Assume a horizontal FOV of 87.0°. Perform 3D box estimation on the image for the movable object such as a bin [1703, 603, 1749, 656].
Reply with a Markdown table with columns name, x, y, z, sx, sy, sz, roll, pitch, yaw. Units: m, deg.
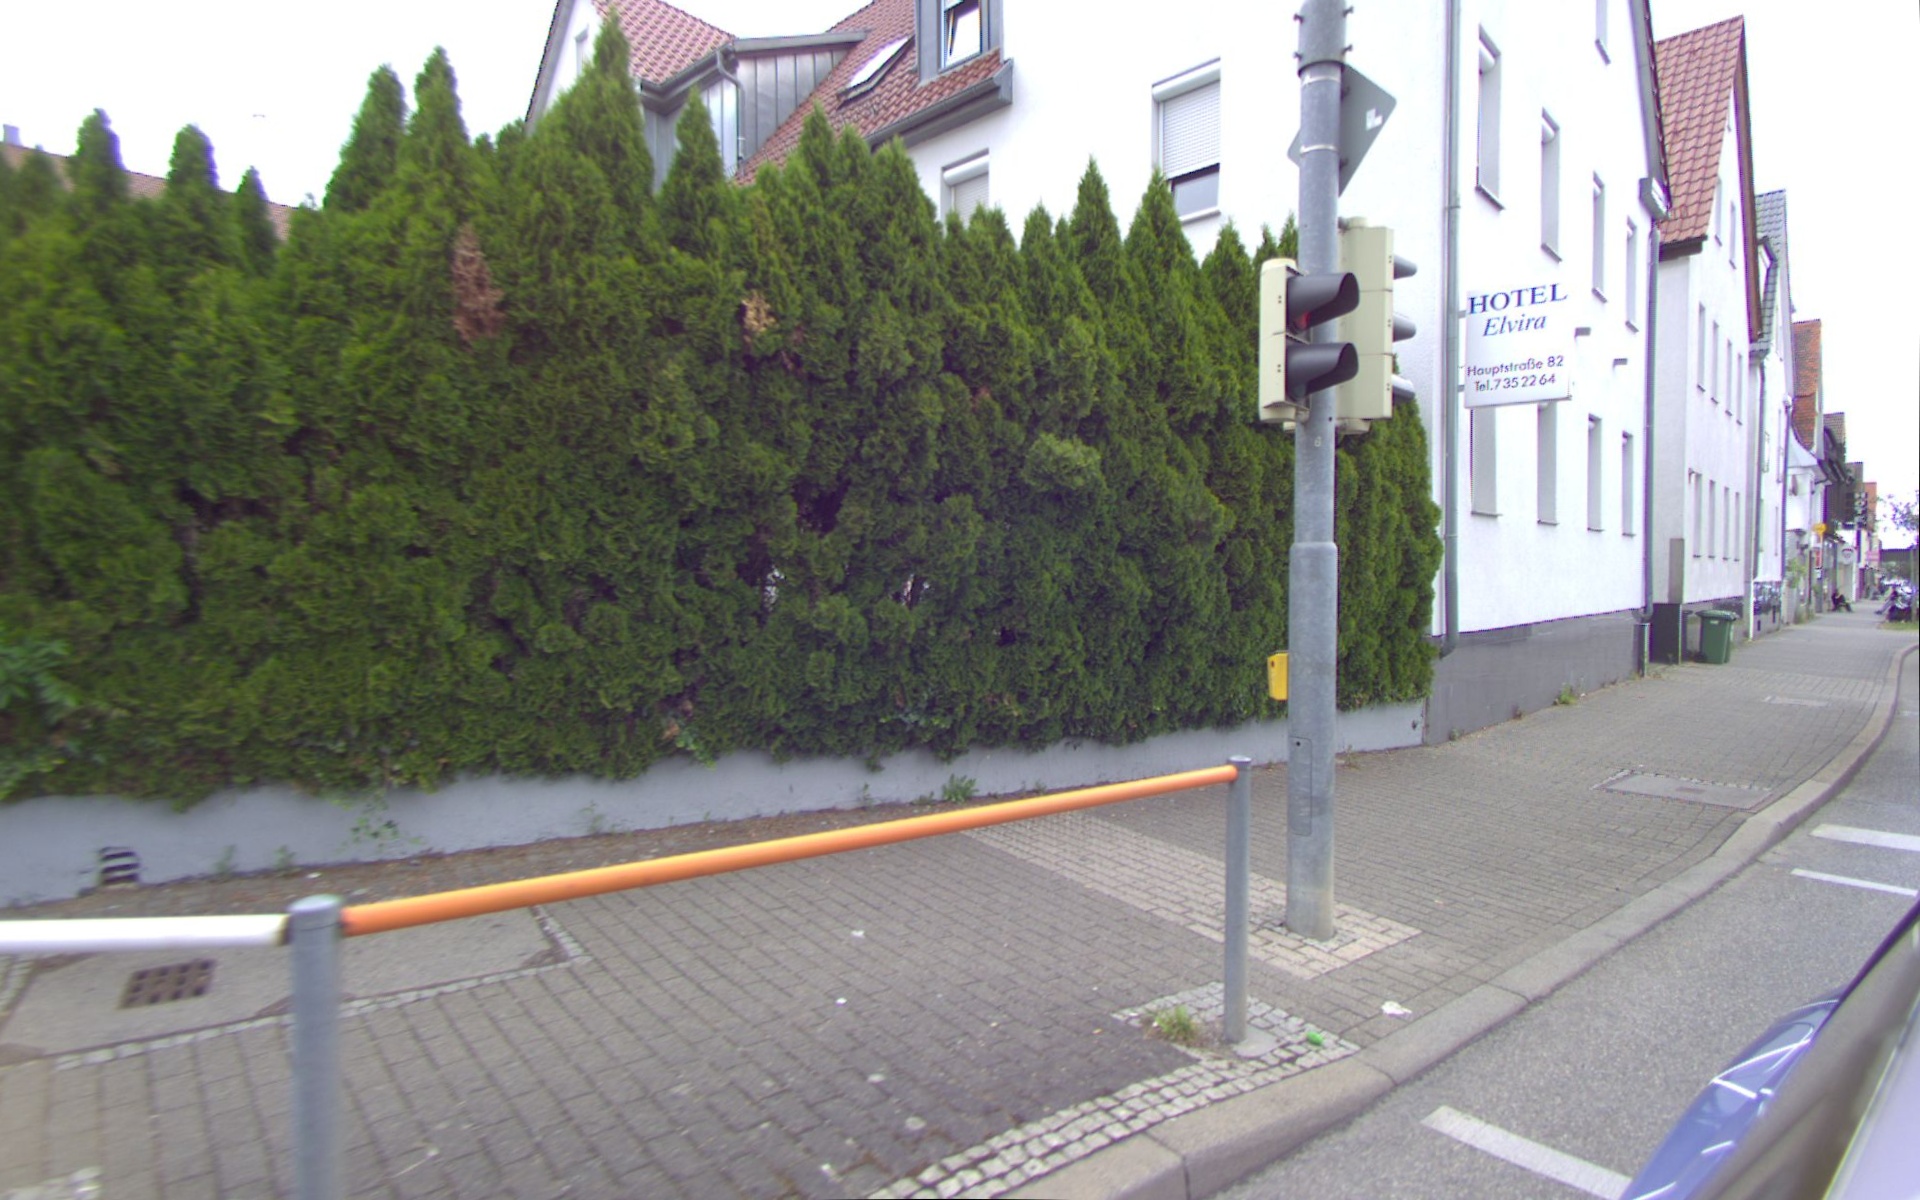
| name | x | y | z | sx | sy | sz | roll | pitch | yaw |
| --- | --- | --- | --- | --- | --- | --- | --- | --- | --- |
| movable object such as a bin | 13.971 | 0.528 | 18.459 | 0.511 | 0.914 | 0.564 | -1 | 3 | -44 |

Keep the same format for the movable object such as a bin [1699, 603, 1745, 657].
| name | x | y | z | sx | sy | sz | roll | pitch | yaw |
| --- | --- | --- | --- | --- | --- | --- | --- | --- | --- |
| movable object such as a bin | 13.601 | 0.524 | 18.059 | 0.511 | 0.914 | 0.564 | -1 | 3 | -44 |

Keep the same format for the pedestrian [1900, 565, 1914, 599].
| name | x | y | z | sx | sy | sz | roll | pitch | yaw |
| --- | --- | --- | --- | --- | --- | --- | --- | --- | --- |
| pedestrian | 50.337 | -0.977 | 53.805 | 0.444 | 1.776 | 0.496 | 0 | 2 | -44 |

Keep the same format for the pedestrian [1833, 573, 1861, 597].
| name | x | y | z | sx | sy | sz | roll | pitch | yaw |
| --- | --- | --- | --- | --- | --- | --- | --- | --- | --- |
| pedestrian | 48.294 | -0.812 | 55.078 | 0.653 | 1.295 | 0.984 | 0 | 2 | -33 |

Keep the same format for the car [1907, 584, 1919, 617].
| name | x | y | z | sx | sy | sz | roll | pitch | yaw |
| --- | --- | --- | --- | --- | --- | --- | --- | --- | --- |
| car | 48.087 | -0.001 | 50.030 | 1.840 | 1.538 | 3.939 | 0 | 1 | 43 |
